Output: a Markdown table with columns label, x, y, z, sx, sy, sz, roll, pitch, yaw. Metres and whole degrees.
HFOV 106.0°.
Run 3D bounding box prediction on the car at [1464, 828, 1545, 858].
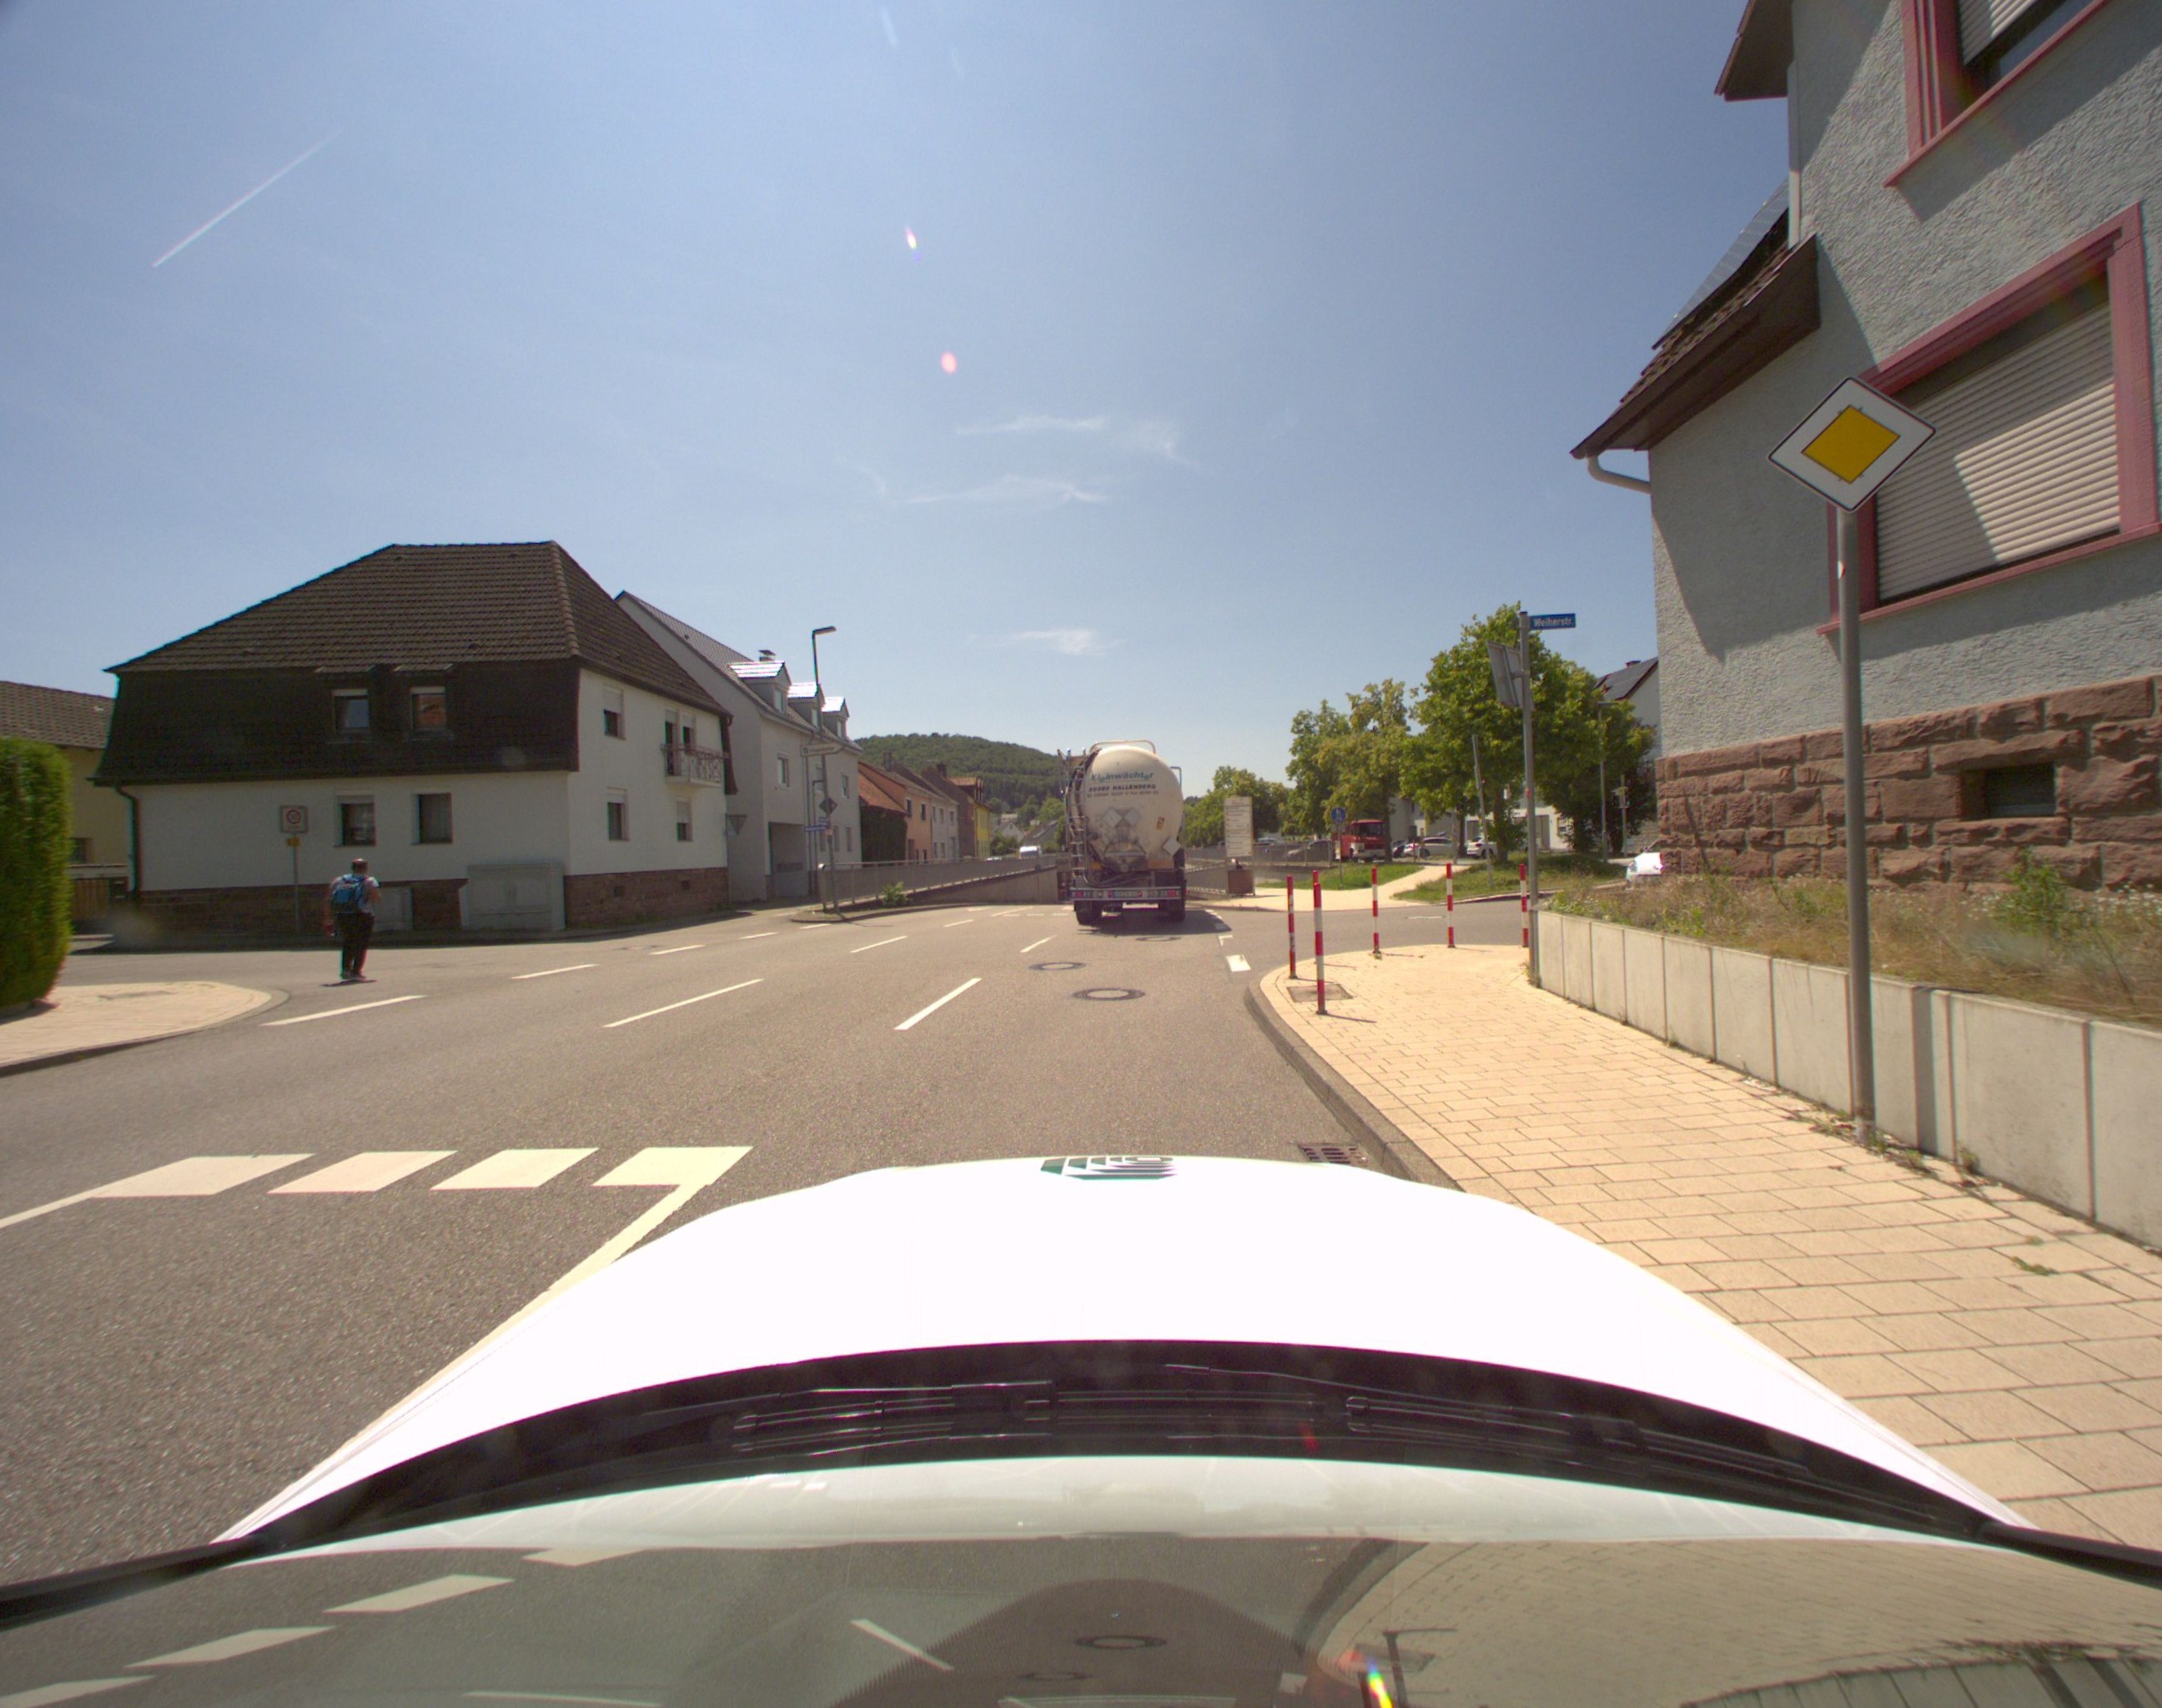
| label | x | y | z | sx | sy | sz | roll | pitch | yaw |
| --- | --- | --- | --- | --- | --- | --- | --- | --- | --- |
| car | 25.490 | -0.653 | 49.132 | 3.920 | 1.478 | 1.759 | -4 | -1 | 3 |

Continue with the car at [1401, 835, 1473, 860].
| label | x | y | z | sx | sy | sz | roll | pitch | yaw |
| --- | --- | --- | --- | --- | --- | --- | --- | --- | --- |
| car | 25.915 | -0.470 | 59.407 | 4.387 | 1.490 | 1.759 | -4 | -1 | 3 |

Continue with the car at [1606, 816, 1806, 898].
| label | x | y | z | sx | sy | sz | roll | pitch | yaw |
| --- | --- | --- | --- | --- | --- | --- | --- | --- | --- |
| car | 13.000 | 0.059 | 16.952 | 3.688 | 1.479 | 1.761 | -2 | -2 | -26 |

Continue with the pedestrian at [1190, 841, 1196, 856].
| label | x | y | z | sx | sy | sz | roll | pitch | yaw |
| --- | --- | --- | --- | --- | --- | --- | --- | --- | --- |
| pedestrian | 14.392 | -0.703 | 104.439 | 0.669 | 1.779 | 0.595 | -2 | -1 | 5 |

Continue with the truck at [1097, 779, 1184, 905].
| label | x | y | z | sx | sy | sz | roll | pitch | yaw |
| --- | --- | --- | --- | --- | --- | --- | --- | --- | --- |
| truck | 2.310 | -0.334 | 29.946 | 2.721 | 4.064 | 6.540 | -2 | -1 | 6 |

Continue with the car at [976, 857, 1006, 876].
| label | x | y | z | sx | sy | sz | roll | pitch | yaw |
| --- | --- | --- | --- | --- | --- | --- | --- | --- | --- |
| car | -7.268 | 1.023 | 66.337 | 1.806 | 1.462 | 4.312 | 0 | 0 | 2 |

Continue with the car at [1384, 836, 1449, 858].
| label | x | y | z | sx | sy | sz | roll | pitch | yaw |
| --- | --- | --- | --- | --- | --- | --- | --- | --- | --- |
| car | 26.601 | -0.538 | 64.646 | 4.387 | 1.490 | 1.759 | -4 | -1 | 3 |

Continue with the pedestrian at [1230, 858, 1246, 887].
| label | x | y | z | sx | sy | sz | roll | pitch | yaw |
| --- | --- | --- | --- | --- | --- | --- | --- | --- | --- |
| pedestrian | 10.026 | 1.200 | 51.947 | 0.832 | 1.782 | 0.789 | -2 | -3 | 3 |

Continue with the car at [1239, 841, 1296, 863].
| label | x | y | z | sx | sy | sz | roll | pitch | yaw |
| --- | --- | --- | --- | --- | --- | --- | --- | --- | --- |
| car | 15.010 | -0.147 | 65.644 | 4.185 | 1.596 | 1.688 | -2 | 0 | 4 |

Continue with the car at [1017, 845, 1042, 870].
| label | x | y | z | sx | sy | sz | roll | pitch | yaw |
| --- | --- | --- | --- | --- | --- | --- | --- | --- | --- |
| car | -5.448 | 0.392 | 86.732 | 2.057 | 2.536 | 5.665 | 0 | 0 | 3 |

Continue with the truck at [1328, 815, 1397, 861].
| label | x | y | z | sx | sy | sz | roll | pitch | yaw |
| --- | --- | --- | --- | --- | --- | --- | --- | --- | --- |
| truck | 15.350 | -0.823 | 44.757 | 2.123 | 2.334 | 5.263 | -2 | 0 | 3 |

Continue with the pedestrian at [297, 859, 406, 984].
| label | x | y | z | sx | sy | sz | roll | pitch | yaw |
| --- | --- | --- | --- | --- | --- | --- | --- | --- | --- |
| pedestrian | -10.512 | 0.950 | 11.770 | 0.725 | 1.729 | 0.856 | 0 | -3 | 0 |

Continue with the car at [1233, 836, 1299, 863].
| label | x | y | z | sx | sy | sz | roll | pitch | yaw |
| --- | --- | --- | --- | --- | --- | --- | --- | --- | --- |
| car | 15.486 | -0.397 | 68.425 | 5.089 | 2.063 | 1.991 | -2 | 0 | 4 |

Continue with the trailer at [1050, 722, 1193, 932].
| label | x | y | z | sx | sy | sz | roll | pitch | yaw |
| --- | --- | --- | --- | --- | --- | --- | --- | --- | --- |
| trailer | 1.520 | -0.433 | 22.737 | 2.721 | 4.064 | 13.335 | -2 | -1 | 6 |

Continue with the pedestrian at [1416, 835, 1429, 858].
| label | x | y | z | sx | sy | sz | roll | pitch | yaw |
| --- | --- | --- | --- | --- | --- | --- | --- | --- | --- |
| pedestrian | 23.295 | -0.485 | 55.515 | 0.606 | 1.511 | 0.746 | -5 | 0 | 28 |

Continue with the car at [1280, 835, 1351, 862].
| label | x | y | z | sx | sy | sz | roll | pitch | yaw |
| --- | --- | --- | --- | --- | --- | --- | --- | --- | --- |
| car | 14.634 | -0.349 | 50.994 | 3.969 | 1.498 | 1.750 | -2 | 0 | 4 |
